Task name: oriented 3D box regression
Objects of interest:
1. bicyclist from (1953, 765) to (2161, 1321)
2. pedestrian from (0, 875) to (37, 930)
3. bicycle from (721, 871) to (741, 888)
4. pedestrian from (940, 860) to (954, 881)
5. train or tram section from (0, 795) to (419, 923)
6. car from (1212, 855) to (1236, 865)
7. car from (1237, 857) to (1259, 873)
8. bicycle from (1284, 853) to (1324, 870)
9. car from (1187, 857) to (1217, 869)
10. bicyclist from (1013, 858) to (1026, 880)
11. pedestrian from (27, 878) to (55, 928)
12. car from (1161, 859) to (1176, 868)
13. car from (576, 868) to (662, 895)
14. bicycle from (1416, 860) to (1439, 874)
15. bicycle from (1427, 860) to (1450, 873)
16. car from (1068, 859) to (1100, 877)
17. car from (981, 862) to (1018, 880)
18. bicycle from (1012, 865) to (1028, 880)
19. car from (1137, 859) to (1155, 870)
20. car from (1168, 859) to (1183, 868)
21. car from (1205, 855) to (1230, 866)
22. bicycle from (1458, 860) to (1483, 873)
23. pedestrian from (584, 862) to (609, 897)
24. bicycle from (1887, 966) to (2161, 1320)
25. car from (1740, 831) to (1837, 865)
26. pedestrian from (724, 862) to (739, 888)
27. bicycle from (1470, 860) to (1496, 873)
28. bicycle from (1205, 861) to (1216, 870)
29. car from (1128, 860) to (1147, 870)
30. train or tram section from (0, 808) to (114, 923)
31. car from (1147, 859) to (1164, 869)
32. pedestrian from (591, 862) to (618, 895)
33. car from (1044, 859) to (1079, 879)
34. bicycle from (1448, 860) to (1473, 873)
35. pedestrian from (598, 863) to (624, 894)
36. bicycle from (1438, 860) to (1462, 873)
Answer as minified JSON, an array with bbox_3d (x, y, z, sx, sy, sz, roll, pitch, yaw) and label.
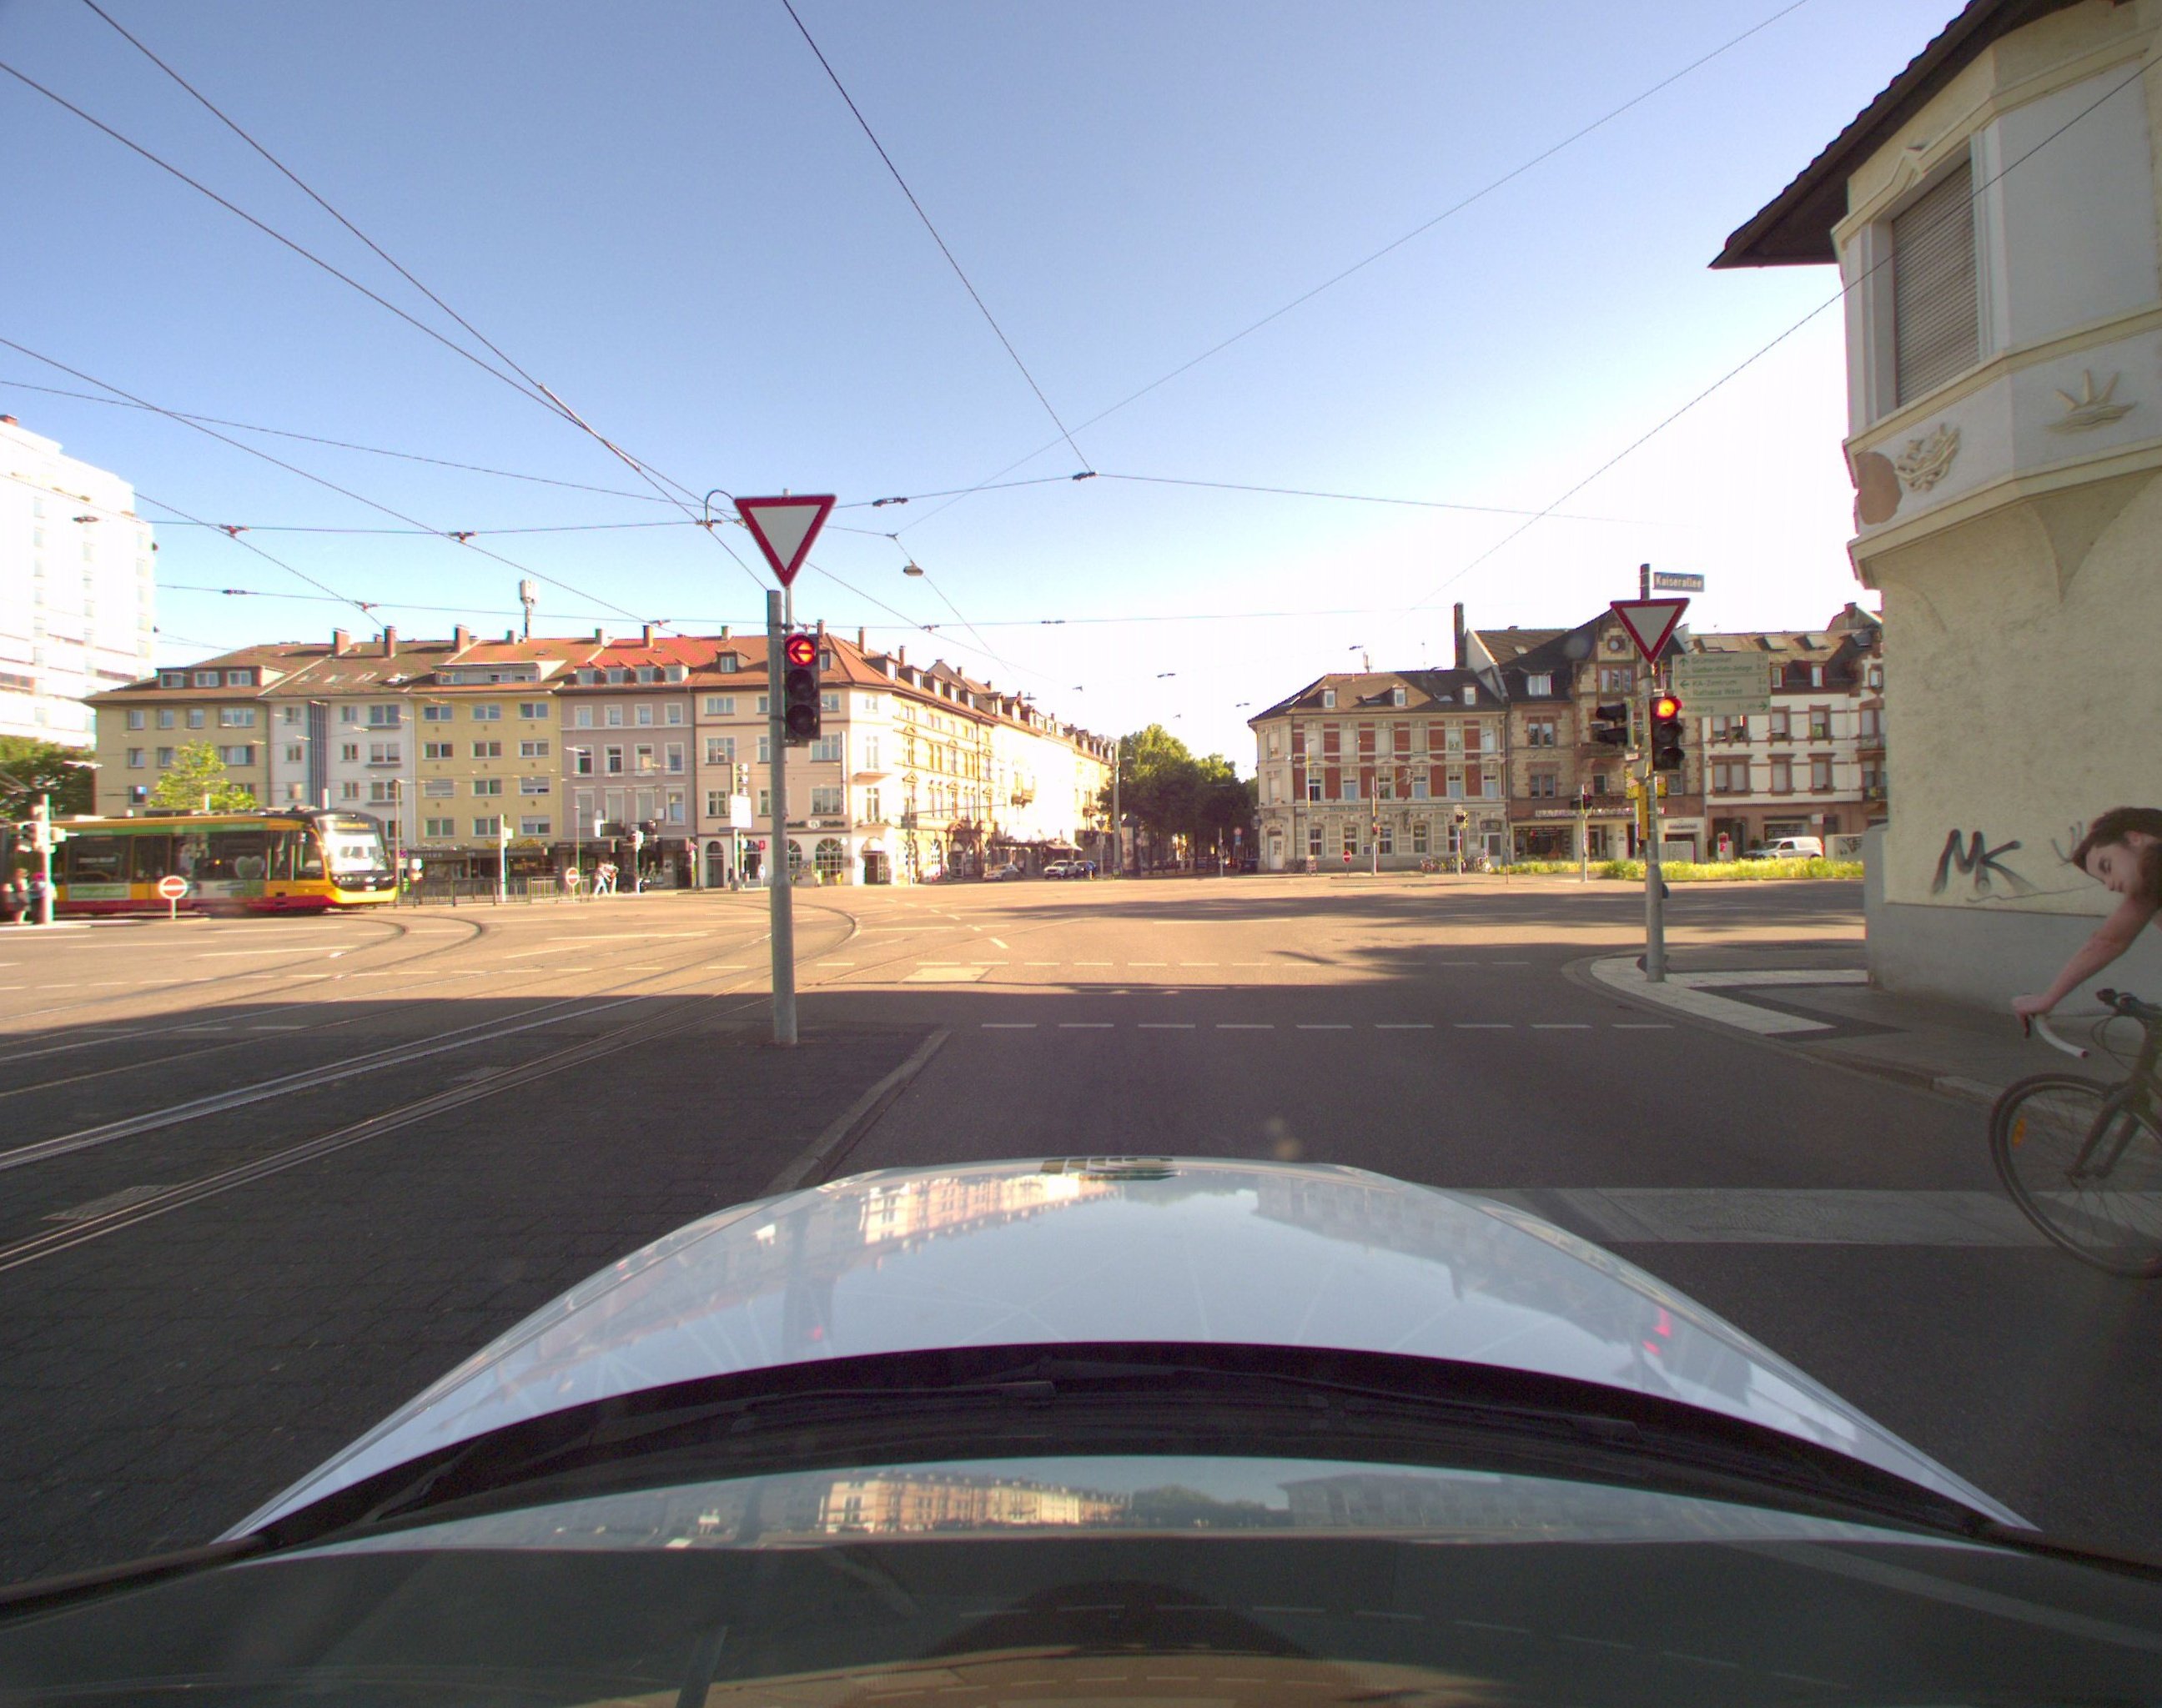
[{"bbox_3d":[3.575,0.575,2.501,0.570,1.701,1.117,-1,0,2],"label":"bicyclist"},{"bbox_3d":[-32.920,1.499,25.240,0.456,1.644,0.643,-1,1,38],"label":"pedestrian"},{"bbox_3d":[-22.801,1.680,53.093,0.570,1.077,1.497,0,-1,2],"label":"bicycle"},{"bbox_3d":[-10.746,1.359,65.328,0.770,1.670,0.834,-1,-1,17],"label":"pedestrian"},{"bbox_3d":[-29.555,0.233,27.550,12.938,3.814,2.948,-1,0,8],"label":"train or tram section"},{"bbox_3d":[23.352,0.964,133.155,3.549,1.648,1.691,-2,0,19],"label":"car"},{"bbox_3d":[16.902,1.095,82.335,1.664,1.483,3.967,-2,0,19],"label":"car"},{"bbox_3d":[15.602,0.498,57.060,2.547,1.174,0.818,0,-1,-1],"label":"bicycle"},{"bbox_3d":[17.202,1.255,115.456,3.870,1.648,1.691,-2,0,19],"label":"car"},{"bbox_3d":[-4.942,1.208,65.415,0.772,1.803,1.060,-1,-1,16],"label":"bicyclist"},{"bbox_3d":[-31.915,1.498,24.991,0.456,1.505,0.485,-1,1,38],"label":"pedestrian"},{"bbox_3d":[14.031,1.501,130.609,1.664,1.354,3.608,-2,0,19],"label":"car"},{"bbox_3d":[-30.366,1.790,53.637,4.347,1.711,2.308,0,-1,4],"label":"car"},{"bbox_3d":[22.425,0.823,52.698,0.656,0.840,2.162,0,-1,3],"label":"bicycle"},{"bbox_3d":[23.160,0.818,52.756,0.656,0.840,2.162,0,-1,3],"label":"bicycle"},{"bbox_3d":[0.306,1.240,73.770,1.664,1.483,3.967,-2,0,19],"label":"car"},{"bbox_3d":[-6.711,1.424,67.226,1.664,1.354,3.608,-2,0,19],"label":"car"},{"bbox_3d":[-4.895,1.483,65.535,0.696,1.118,1.642,-1,-1,16],"label":"bicycle"},{"bbox_3d":[9.171,1.491,115.448,1.664,1.354,3.608,-2,0,19],"label":"car"},{"bbox_3d":[15.718,1.520,135.603,1.664,1.354,3.608,-2,0,19],"label":"car"},{"bbox_3d":[21.447,1.057,127.722,3.549,1.648,1.691,-2,0,19],"label":"car"},{"bbox_3d":[25.204,0.802,52.704,0.656,0.840,2.162,0,-1,3],"label":"bicycle"},{"bbox_3d":[-22.014,1.151,37.001,0.545,1.577,0.838,-1,-1,29],"label":"pedestrian"},{"bbox_3d":[3.600,0.956,2.510,0.516,0.970,1.750,-1,0,2],"label":"bicycle"},{"bbox_3d":[45.442,-0.385,52.403,4.406,2.013,2.002,-1,0,4],"label":"car"},{"bbox_3d":[-22.802,1.385,53.142,0.580,1.670,0.753,0,-1,2],"label":"pedestrian"},{"bbox_3d":[26.007,0.796,52.718,0.656,0.840,2.162,0,-1,3],"label":"bicycle"},{"bbox_3d":[15.768,1.390,99.281,0.636,1.021,1.839,0,-1,-12],"label":"bicycle"},{"bbox_3d":[7.696,1.488,111.324,1.664,1.354,3.608,-2,0,19],"label":"car"},{"bbox_3d":[-42.050,0.535,28.652,12.731,3.814,2.942,-1,0,1],"label":"train or tram section"},{"bbox_3d":[11.241,1.515,122.364,1.664,1.354,3.608,-2,0,19],"label":"car"},{"bbox_3d":[-23.218,1.199,39.682,0.720,1.577,0.836,-1,-1,11],"label":"pedestrian"},{"bbox_3d":[-1.606,1.213,67.511,1.664,1.483,3.789,-2,0,19],"label":"car"},{"bbox_3d":[24.567,0.807,52.749,0.656,0.840,2.162,0,-1,3],"label":"bicycle"},{"bbox_3d":[-24.545,1.286,42.553,0.842,1.577,0.836,-1,-1,11],"label":"pedestrian"},{"bbox_3d":[23.884,0.812,52.742,0.656,0.840,2.162,0,-1,3],"label":"bicycle"}]
